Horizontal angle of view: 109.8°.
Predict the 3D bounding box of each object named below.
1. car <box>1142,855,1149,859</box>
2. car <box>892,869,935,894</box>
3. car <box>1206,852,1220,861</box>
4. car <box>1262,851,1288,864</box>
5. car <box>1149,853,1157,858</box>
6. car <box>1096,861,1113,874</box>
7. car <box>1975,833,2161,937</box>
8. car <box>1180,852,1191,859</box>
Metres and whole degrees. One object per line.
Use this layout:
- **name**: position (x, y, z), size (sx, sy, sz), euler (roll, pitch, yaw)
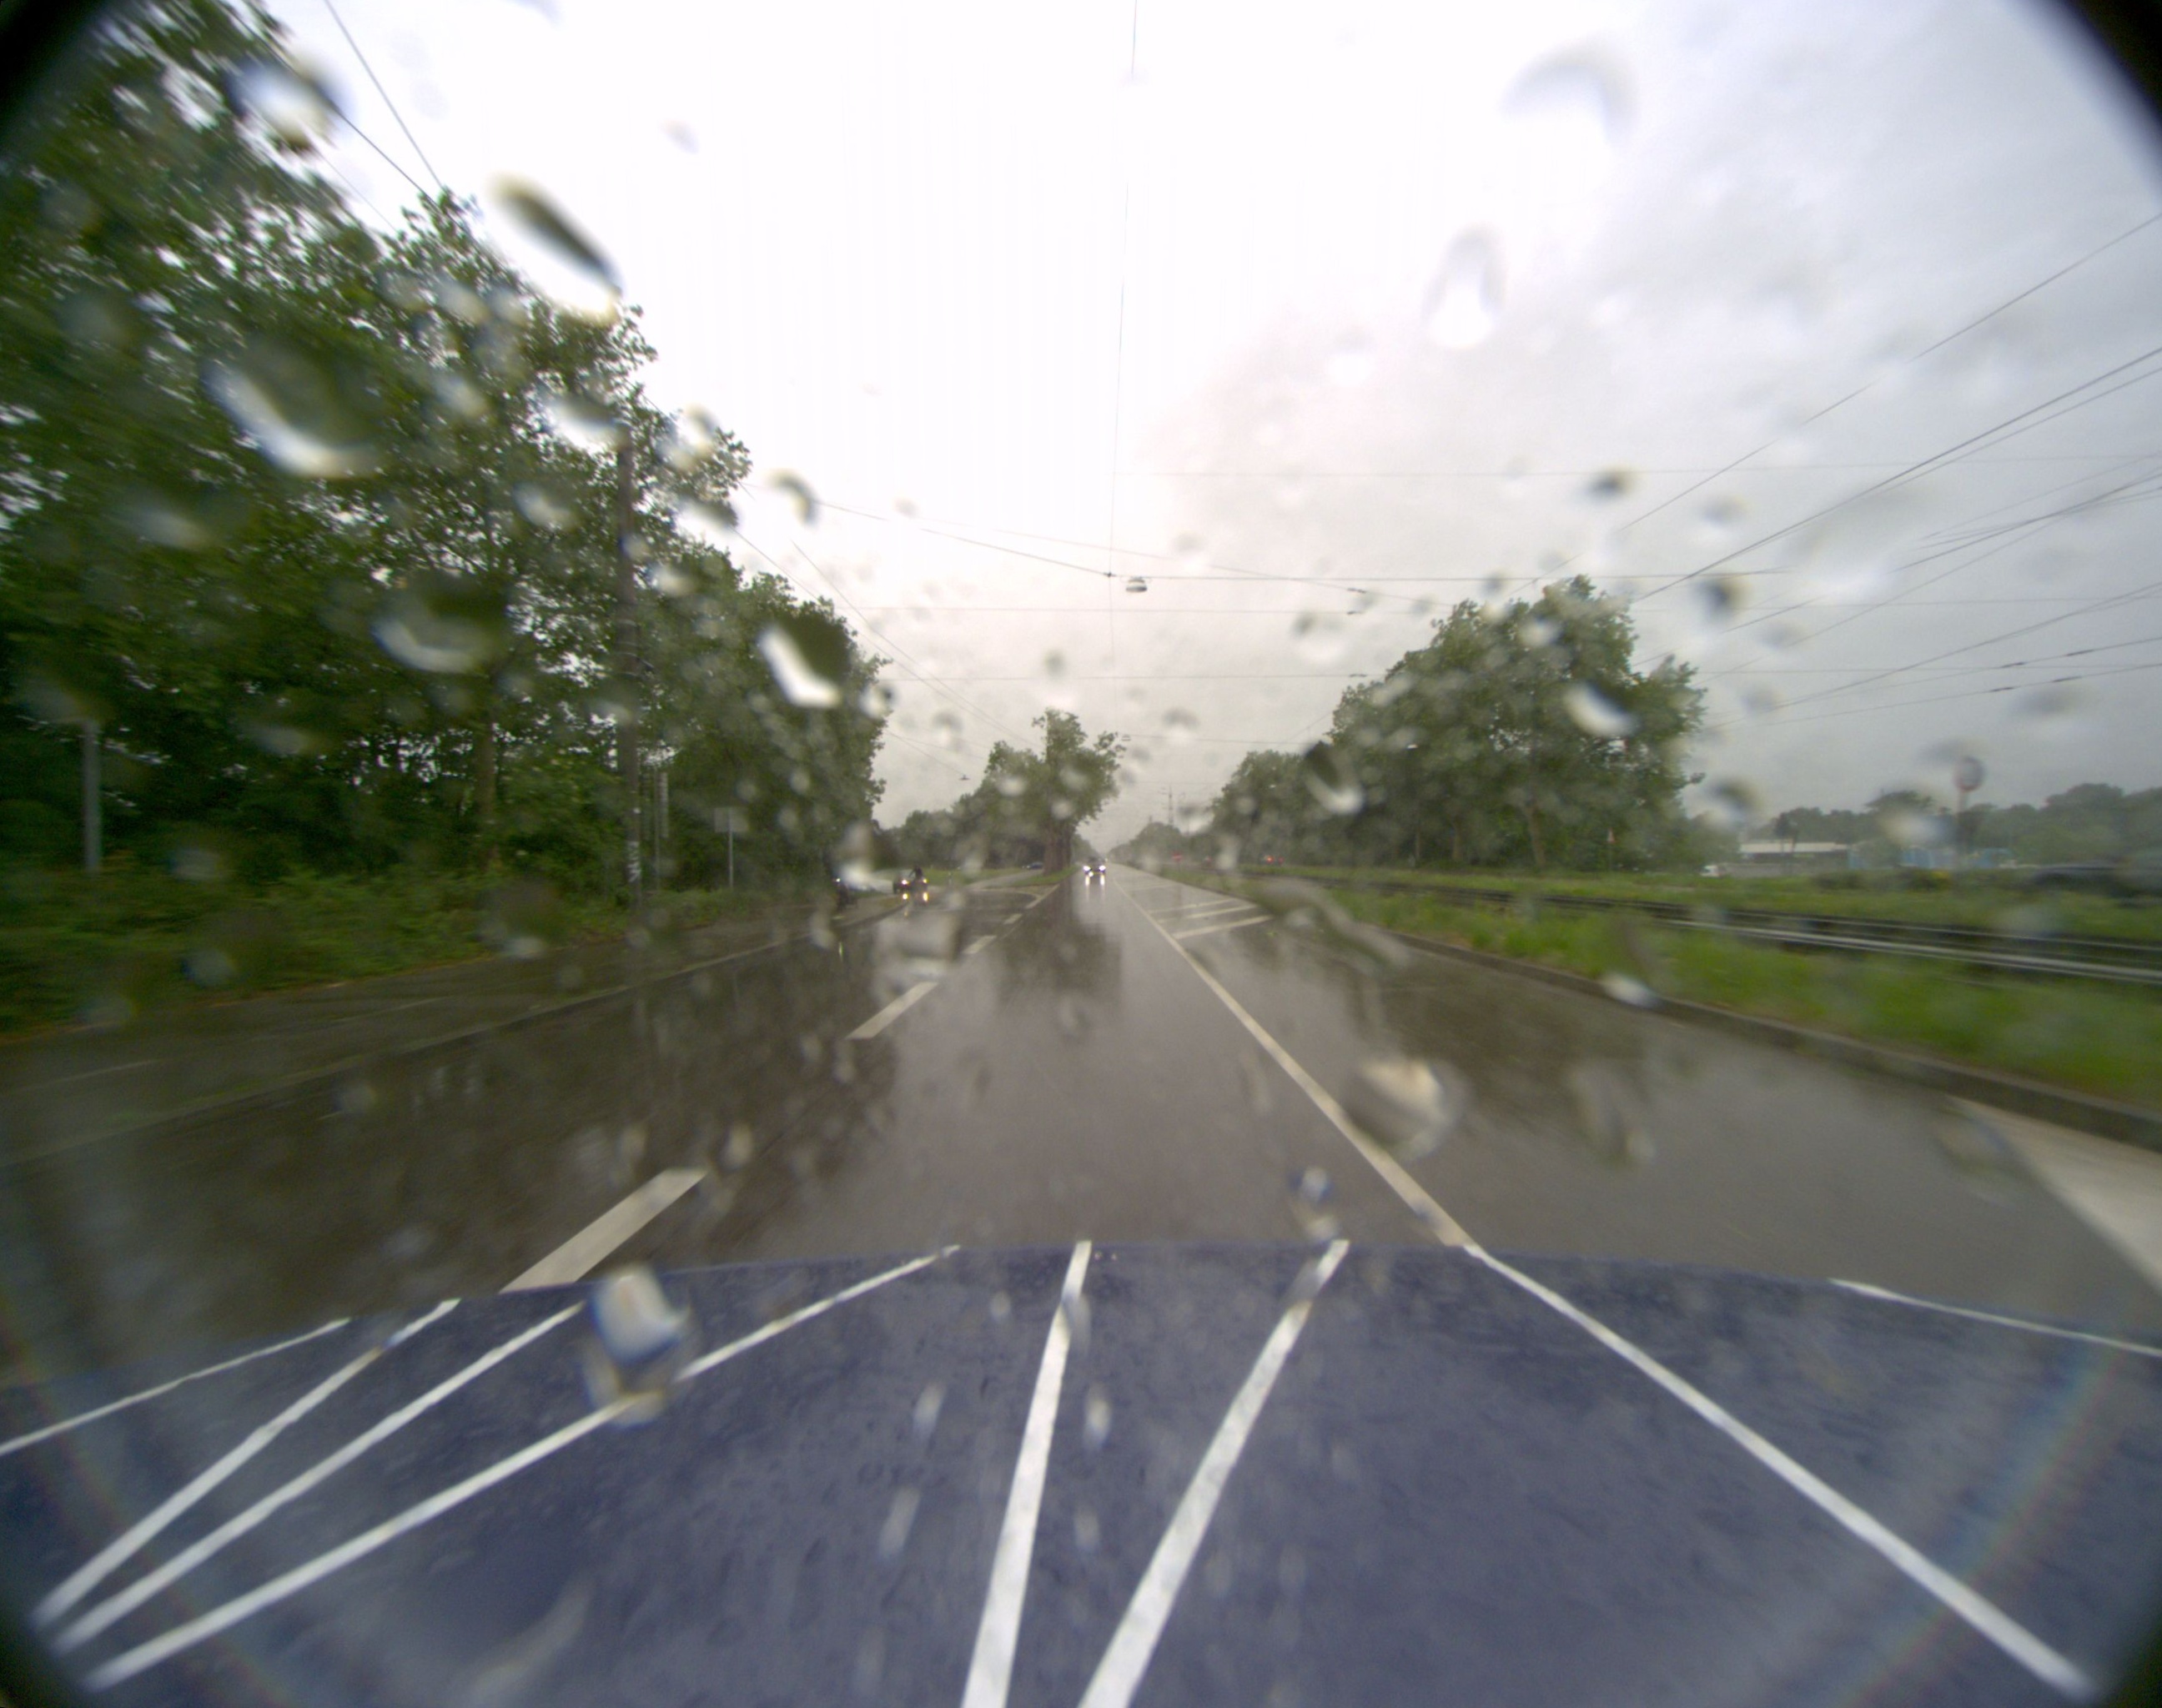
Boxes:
- **car**: position (21.204, 1.083, 251.007), size (1.776, 1.322, 4.380), euler (-2, 0, 0)
- **car**: position (-11.258, 1.794, 50.778), size (1.871, 1.527, 4.508), euler (-2, 0, -25)
- **car**: position (23.009, 0.419, 132.486), size (1.655, 1.559, 4.047), euler (-2, 0, 0)
- **car**: position (24.616, 0.445, 96.665), size (2.217, 1.519, 4.279), euler (-2, 0, 1)
- **car**: position (20.711, 0.434, 218.634), size (1.695, 1.514, 4.955), euler (-2, 0, 0)
- **car**: position (2.706, 1.514, 88.884), size (1.971, 1.412, 4.000), euler (-1, 0, 1)
- **car**: position (17.657, 0.459, 11.632), size (1.948, 1.606, 4.987), euler (-1, 0, -3)
- **car**: position (22.490, 0.224, 164.010), size (1.686, 1.398, 3.939), euler (-2, 1, 0)
